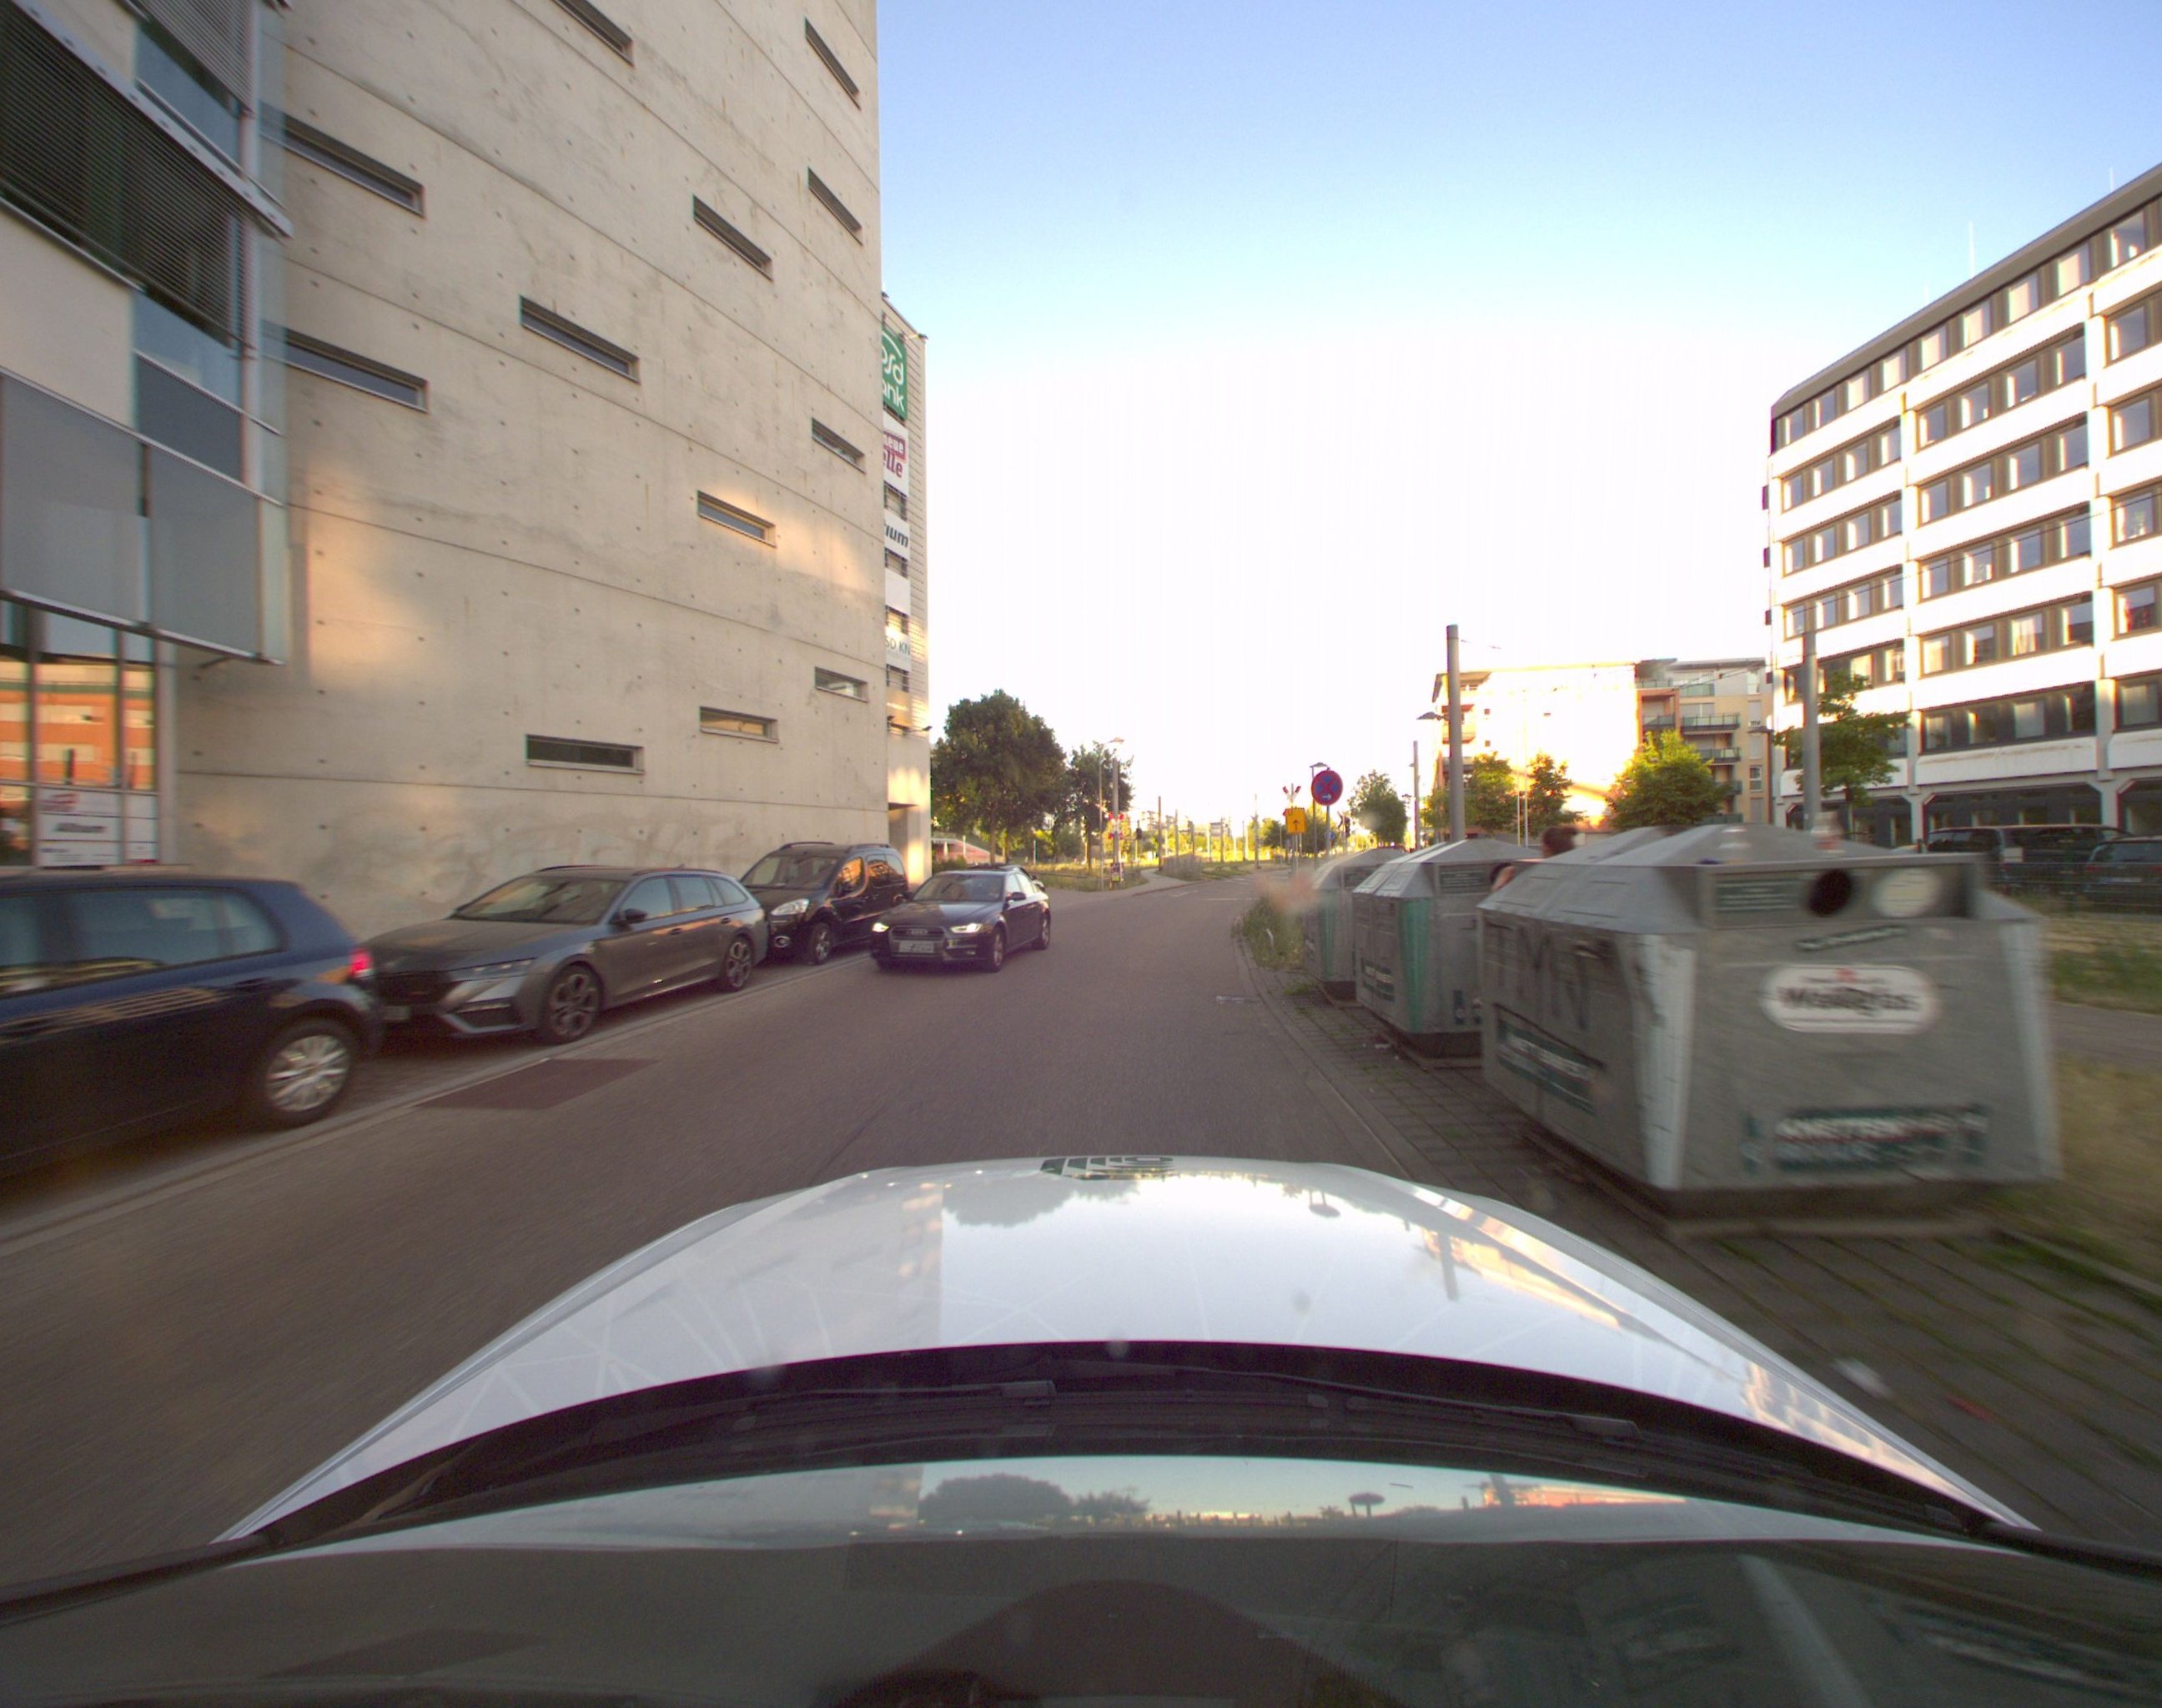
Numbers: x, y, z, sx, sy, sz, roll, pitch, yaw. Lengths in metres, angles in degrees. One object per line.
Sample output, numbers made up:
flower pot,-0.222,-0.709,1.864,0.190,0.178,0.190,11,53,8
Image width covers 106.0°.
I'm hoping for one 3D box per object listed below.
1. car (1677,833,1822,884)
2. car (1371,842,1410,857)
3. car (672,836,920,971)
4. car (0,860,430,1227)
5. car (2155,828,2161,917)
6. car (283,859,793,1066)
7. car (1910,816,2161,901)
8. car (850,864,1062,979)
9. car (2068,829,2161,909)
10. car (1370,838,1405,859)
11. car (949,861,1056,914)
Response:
car,27.220,0.172,33.230,4.488,1.937,1.928,-1,0,-5
car,35.754,-0.490,94.152,4.118,1.576,1.712,-1,0,21
car,-4.351,0.666,13.308,1.746,1.798,4.477,1,0,11
car,-5.290,0.789,3.297,1.715,1.457,4.274,1,0,2
car,21.762,0.289,14.100,4.488,1.602,1.691,-1,0,-5
car,-4.891,0.812,8.398,1.713,1.457,4.702,1,0,6
car,23.716,0.100,20.203,4.485,1.937,1.929,-1,0,-3
car,-1.707,0.896,12.805,1.766,1.422,4.531,-1,0,12
car,23.976,0.271,17.203,4.487,1.602,1.691,-1,0,-4
car,39.476,-0.741,105.014,4.120,2.584,1.711,-1,-1,17
car,-2.259,0.954,24.684,1.931,1.382,4.414,1,0,12
